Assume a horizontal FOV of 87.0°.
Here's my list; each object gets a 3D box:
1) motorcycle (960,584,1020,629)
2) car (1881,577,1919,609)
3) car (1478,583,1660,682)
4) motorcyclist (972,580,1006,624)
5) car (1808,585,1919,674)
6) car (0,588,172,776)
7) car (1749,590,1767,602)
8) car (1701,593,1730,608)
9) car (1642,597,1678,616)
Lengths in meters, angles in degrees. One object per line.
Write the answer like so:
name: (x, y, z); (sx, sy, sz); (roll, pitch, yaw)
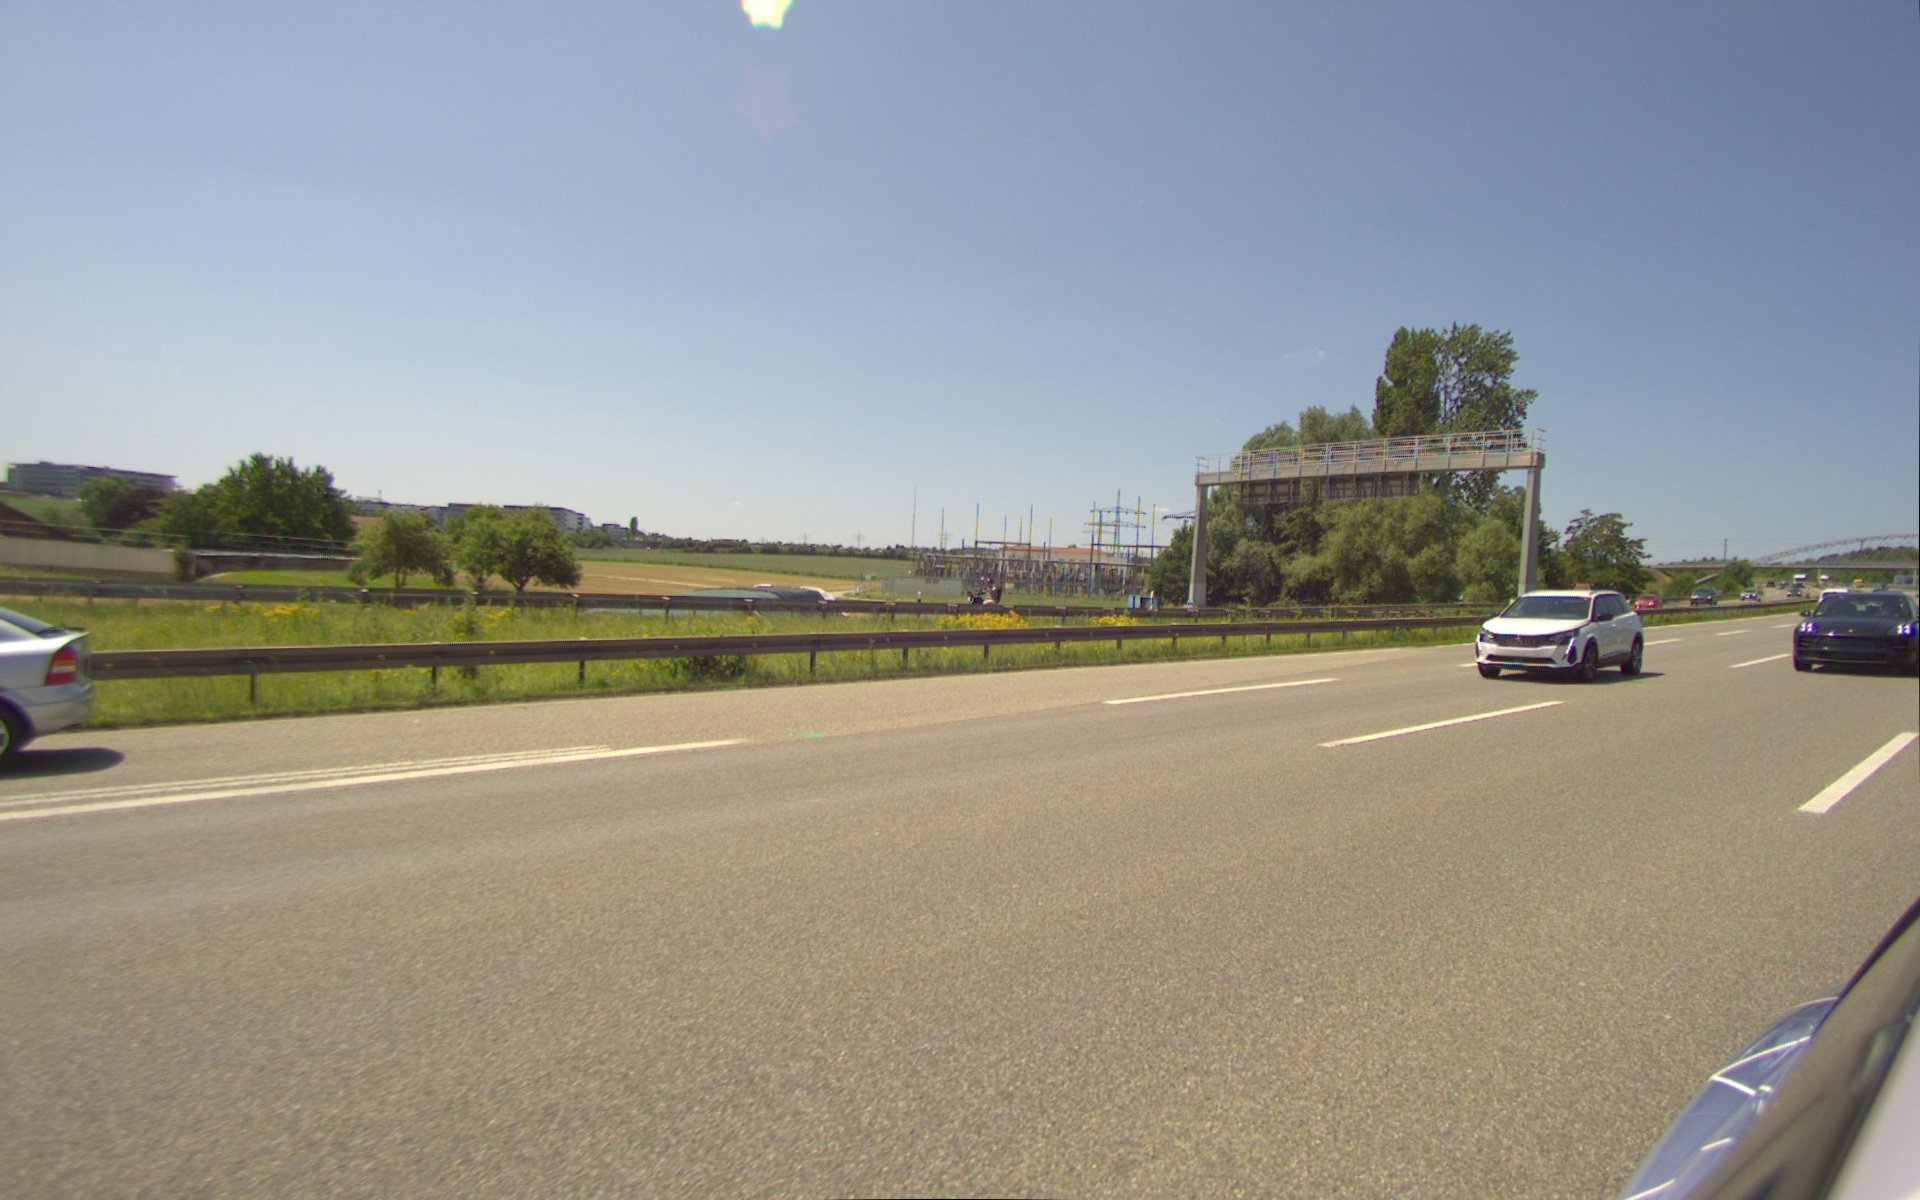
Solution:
motorcycle: (0.965, 0.199, 32.344); (1.834, 1.383, 0.762); (-1, 1, -34)
car: (59.335, -0.485, 63.615); (4.223, 1.943, 1.806); (-1, 1, -43)
car: (11.572, 0.510, 19.097); (4.542, 1.611, 1.746); (-1, 1, -42)
motorcyclist: (0.924, 0.044, 32.316); (0.862, 1.383, 0.671); (-1, 1, -34)
car: (18.838, 0.525, 20.699); (4.065, 1.615, 1.928); (-2, 1, -45)
car: (-9.085, 0.664, 7.744); (4.762, 1.455, 1.789); (-1, 1, -40)
car: (112.288, -0.566, 142.327); (1.699, 1.594, 4.065); (0, 1, 42)
car: (83.789, 0.070, 112.238); (4.056, 1.594, 1.703); (-1, 1, -40)
car: (63.175, 0.559, 91.282); (4.056, 1.594, 1.703); (-1, 1, -40)
